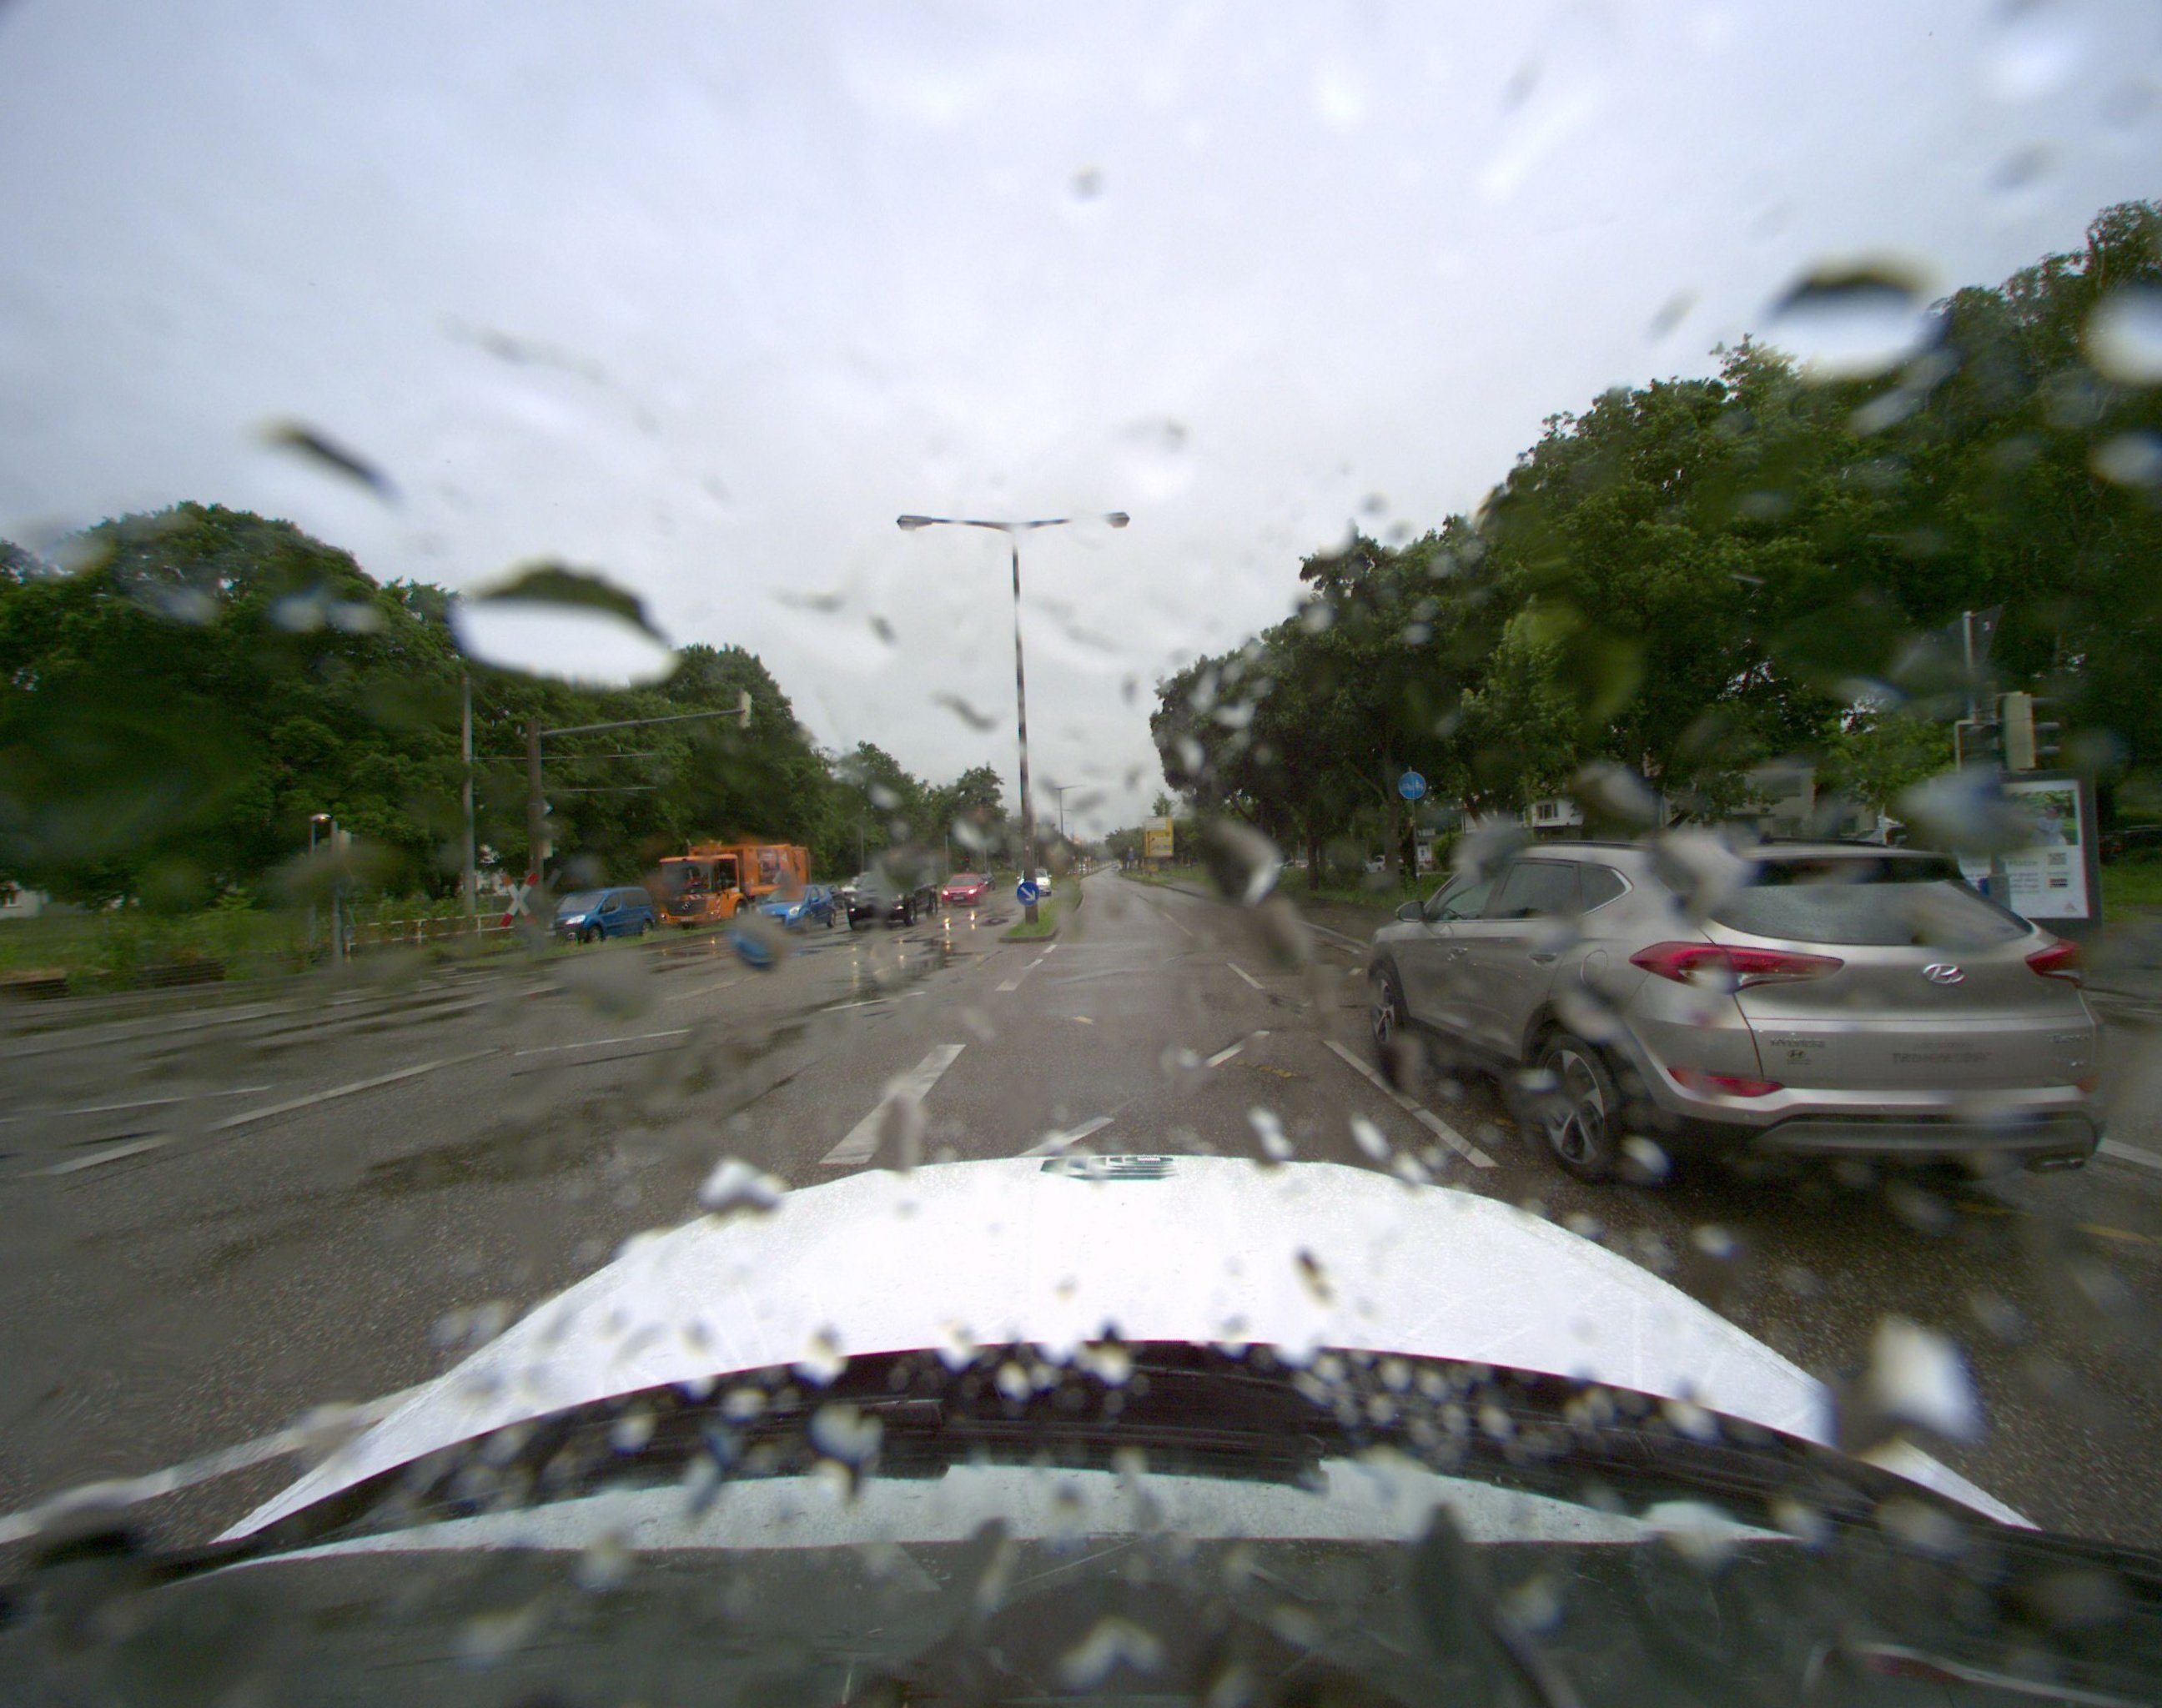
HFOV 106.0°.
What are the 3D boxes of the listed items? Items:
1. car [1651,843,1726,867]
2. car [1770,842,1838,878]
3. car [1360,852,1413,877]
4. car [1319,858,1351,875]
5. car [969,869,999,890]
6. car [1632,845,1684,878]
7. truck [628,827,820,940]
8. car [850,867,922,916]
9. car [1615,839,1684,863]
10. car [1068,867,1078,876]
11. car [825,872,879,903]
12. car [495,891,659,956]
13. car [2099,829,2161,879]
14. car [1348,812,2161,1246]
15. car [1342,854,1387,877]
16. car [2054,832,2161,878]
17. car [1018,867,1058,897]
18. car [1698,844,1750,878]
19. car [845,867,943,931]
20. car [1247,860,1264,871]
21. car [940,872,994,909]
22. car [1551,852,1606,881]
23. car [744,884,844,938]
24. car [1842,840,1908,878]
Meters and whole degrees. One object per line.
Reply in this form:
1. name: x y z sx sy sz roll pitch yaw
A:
1. car: 36.922 0.085 49.654 1.578 1.385 3.999 0 -1 0
2. car: 30.893 0.276 34.756 3.771 1.449 1.650 1 -2 -41
3. car: 22.354 0.796 59.789 1.987 1.717 4.877 -3 -1 0
4. car: 22.748 1.146 73.113 1.632 1.486 4.072 0 -1 0
5. car: -8.508 2.234 71.795 1.699 1.642 4.336 -4 -1 4
6. car: 27.227 0.384 38.375 1.648 1.449 3.775 -2 -2 41
7. truck: -14.906 1.223 35.413 3.372 4.168 10.410 0 -1 2
8. car: -8.832 1.658 37.401 1.921 2.018 4.745 -2 -1 2
9. car: 34.366 -0.151 49.311 1.567 1.316 3.700 -1 -1 -1
10. car: -1.585 3.418 163.169 1.737 1.650 4.137 -4 -1 1
11. car: -14.380 2.085 51.360 1.987 1.828 4.771 0 -1 0
12. car: -15.266 2.047 25.027 1.985 1.709 4.530 0 -1 3
13. car: 34.199 -0.010 23.999 5.375 1.449 2.170 0 -2 4
14. car: 3.262 0.708 5.164 1.877 1.610 4.197 -1 -1 2
15. car: 22.685 0.924 65.355 1.987 1.717 4.640 -3 -1 0
16. car: 34.215 0.046 26.192 3.694 1.449 1.671 0 -2 3
17. car: -2.553 1.660 49.333 1.953 1.617 4.699 -2 -1 2
18. car: 29.113 0.337 36.831 1.648 1.449 3.775 -2 -2 41
19. car: -5.975 1.385 26.726 1.799 1.773 5.091 -3 -1 2
20. car: 25.057 1.677 117.029 1.737 1.445 4.127 -3 0 4
21. car: -5.447 1.740 39.331 1.794 1.569 4.429 -4 -2 1
22. car: 24.801 0.642 40.579 3.408 1.352 1.506 1 -2 -44
23. car: -8.981 1.736 25.818 1.636 1.427 3.999 -4 -1 0
24. car: 32.326 0.229 33.124 3.771 1.449 1.584 1 -2 -41
